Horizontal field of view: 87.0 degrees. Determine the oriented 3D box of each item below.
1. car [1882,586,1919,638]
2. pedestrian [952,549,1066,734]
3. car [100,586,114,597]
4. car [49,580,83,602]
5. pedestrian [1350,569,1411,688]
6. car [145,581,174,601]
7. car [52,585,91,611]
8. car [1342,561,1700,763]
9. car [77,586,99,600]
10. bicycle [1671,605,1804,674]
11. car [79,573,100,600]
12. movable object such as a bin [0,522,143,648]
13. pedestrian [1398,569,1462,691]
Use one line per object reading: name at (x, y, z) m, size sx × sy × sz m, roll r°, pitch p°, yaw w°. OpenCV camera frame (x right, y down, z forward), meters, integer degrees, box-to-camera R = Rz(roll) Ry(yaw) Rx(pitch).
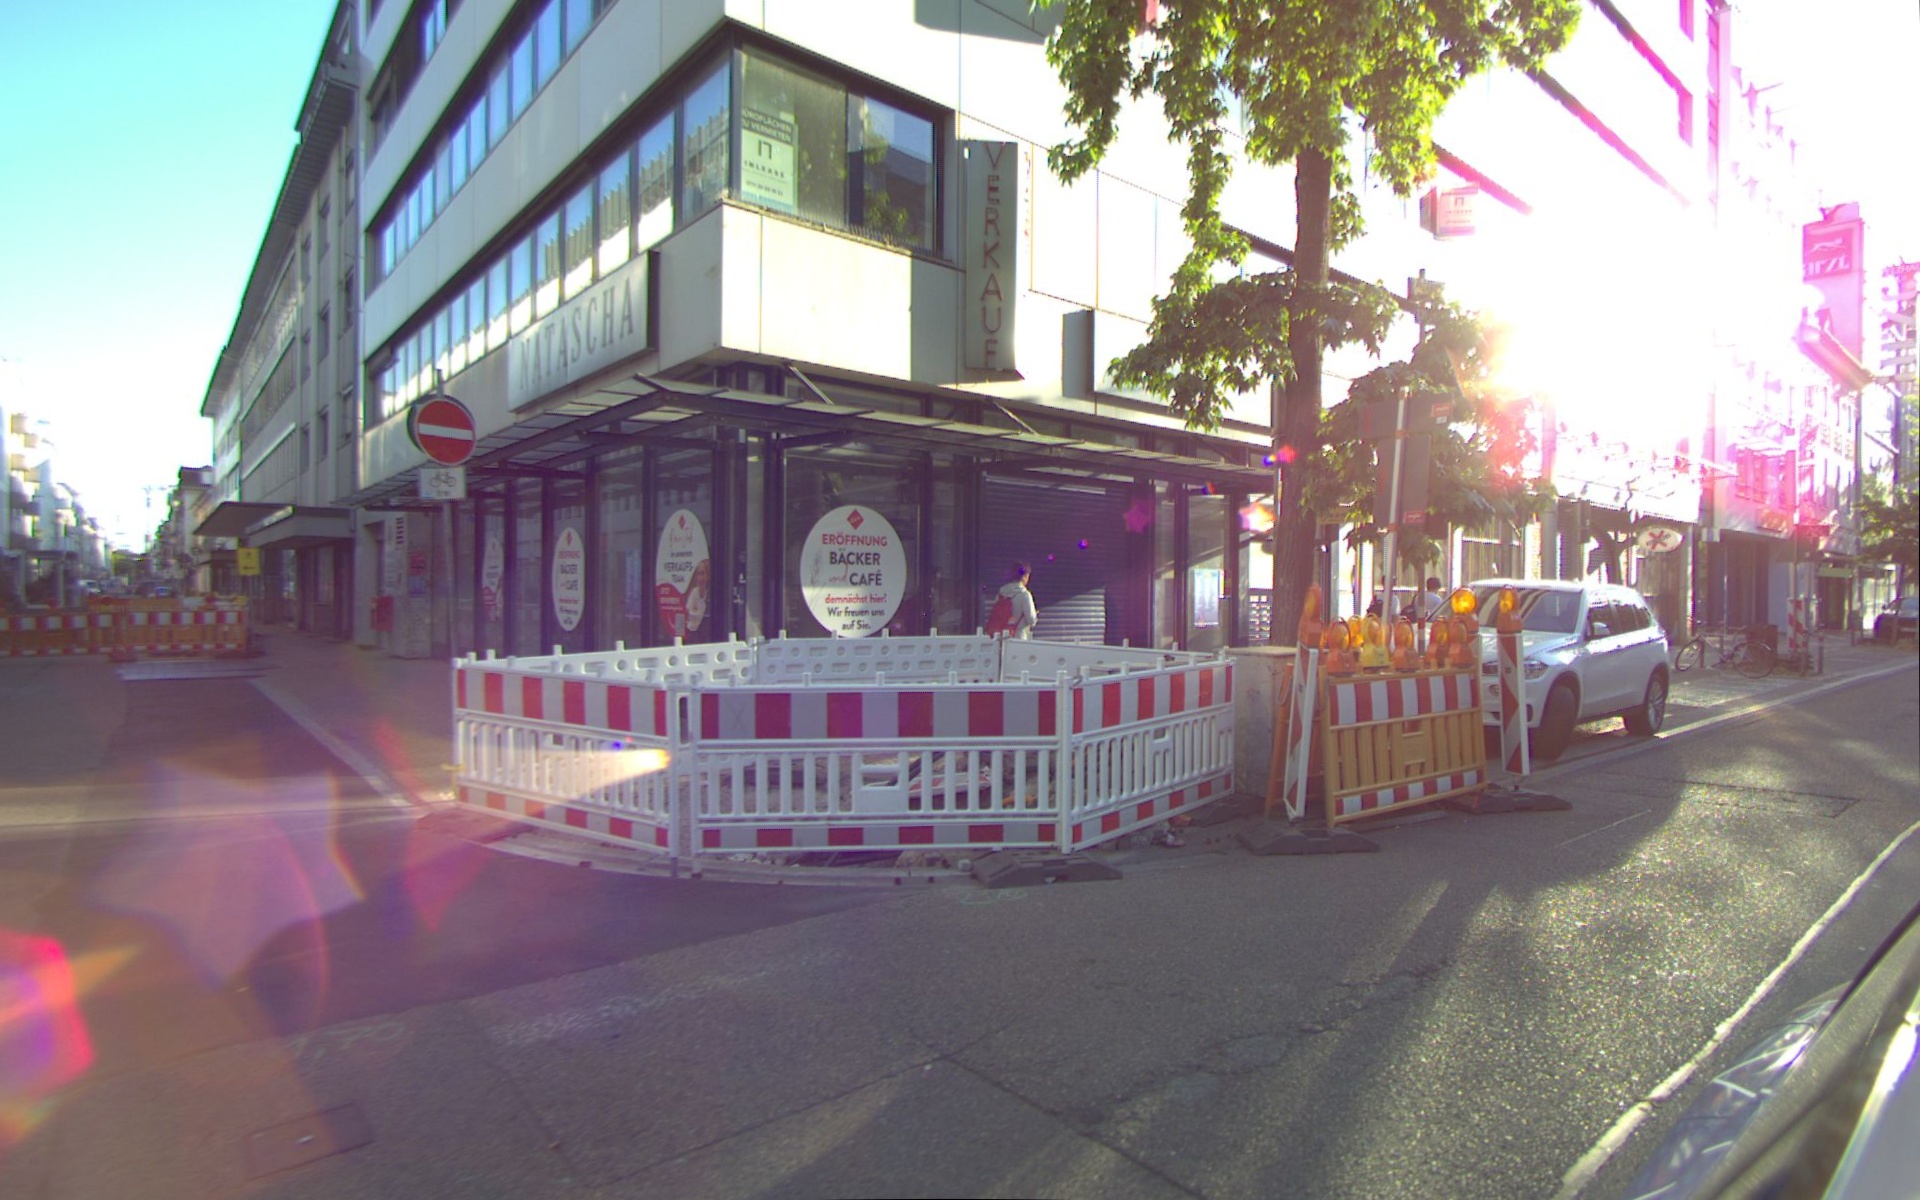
car at (33.915, 0.411, 35.257) m, size 4.788 × 1.709 × 1.985 m, roll 0°, pitch 3°, yaw -40°
pedestrian at (0.535, 0.417, 11.120) m, size 0.901 × 1.921 × 0.836 m, roll 0°, pitch 1°, yaw -37°
car at (-141.558, -1.371, 167.920) m, size 1.796 × 1.838 × 5.088 m, roll 0°, pitch 0°, yaw -40°
car at (-67.584, -0.688, 76.559) m, size 1.796 × 1.572 × 4.079 m, roll 0°, pitch 0°, yaw -40°
pedestrian at (6.747, 0.436, 16.252) m, size 0.623 × 1.853 × 0.689 m, roll 0°, pitch 0°, yaw -40°
car at (-66.512, -0.723, 84.032) m, size 1.796 × 1.638 × 4.079 m, roll 0°, pitch 0°, yaw -40°
car at (-57.942, -0.156, 66.071) m, size 1.796 × 1.638 × 4.079 m, roll 0°, pitch 0°, yaw -40°
car at (6.511, 0.519, 11.482) m, size 4.822 × 1.758 × 2.027 m, roll 0°, pitch 3°, yaw -42°
car at (-99.683, -0.819, 115.726) m, size 1.796 × 1.638 × 4.079 m, roll 0°, pitch 0°, yaw -40°
bicycle at (14.830, 0.716, 19.344) m, size 0.824 × 1.148 × 1.821 m, roll -1°, pitch 3°, yaw -32°
car at (-106.055, -1.652, 123.356) m, size 1.796 × 3.169 × 5.088 m, roll 0°, pitch 0°, yaw -40°
movable object such as a bin at (-25.151, -0.397, 27.014) m, size 2.766 × 2.946 × 8.225 m, roll 0°, pitch 0°, yaw -21°
pedestrian at (7.348, 0.444, 15.818) m, size 0.623 × 1.853 × 0.706 m, roll 0°, pitch 0°, yaw -40°
